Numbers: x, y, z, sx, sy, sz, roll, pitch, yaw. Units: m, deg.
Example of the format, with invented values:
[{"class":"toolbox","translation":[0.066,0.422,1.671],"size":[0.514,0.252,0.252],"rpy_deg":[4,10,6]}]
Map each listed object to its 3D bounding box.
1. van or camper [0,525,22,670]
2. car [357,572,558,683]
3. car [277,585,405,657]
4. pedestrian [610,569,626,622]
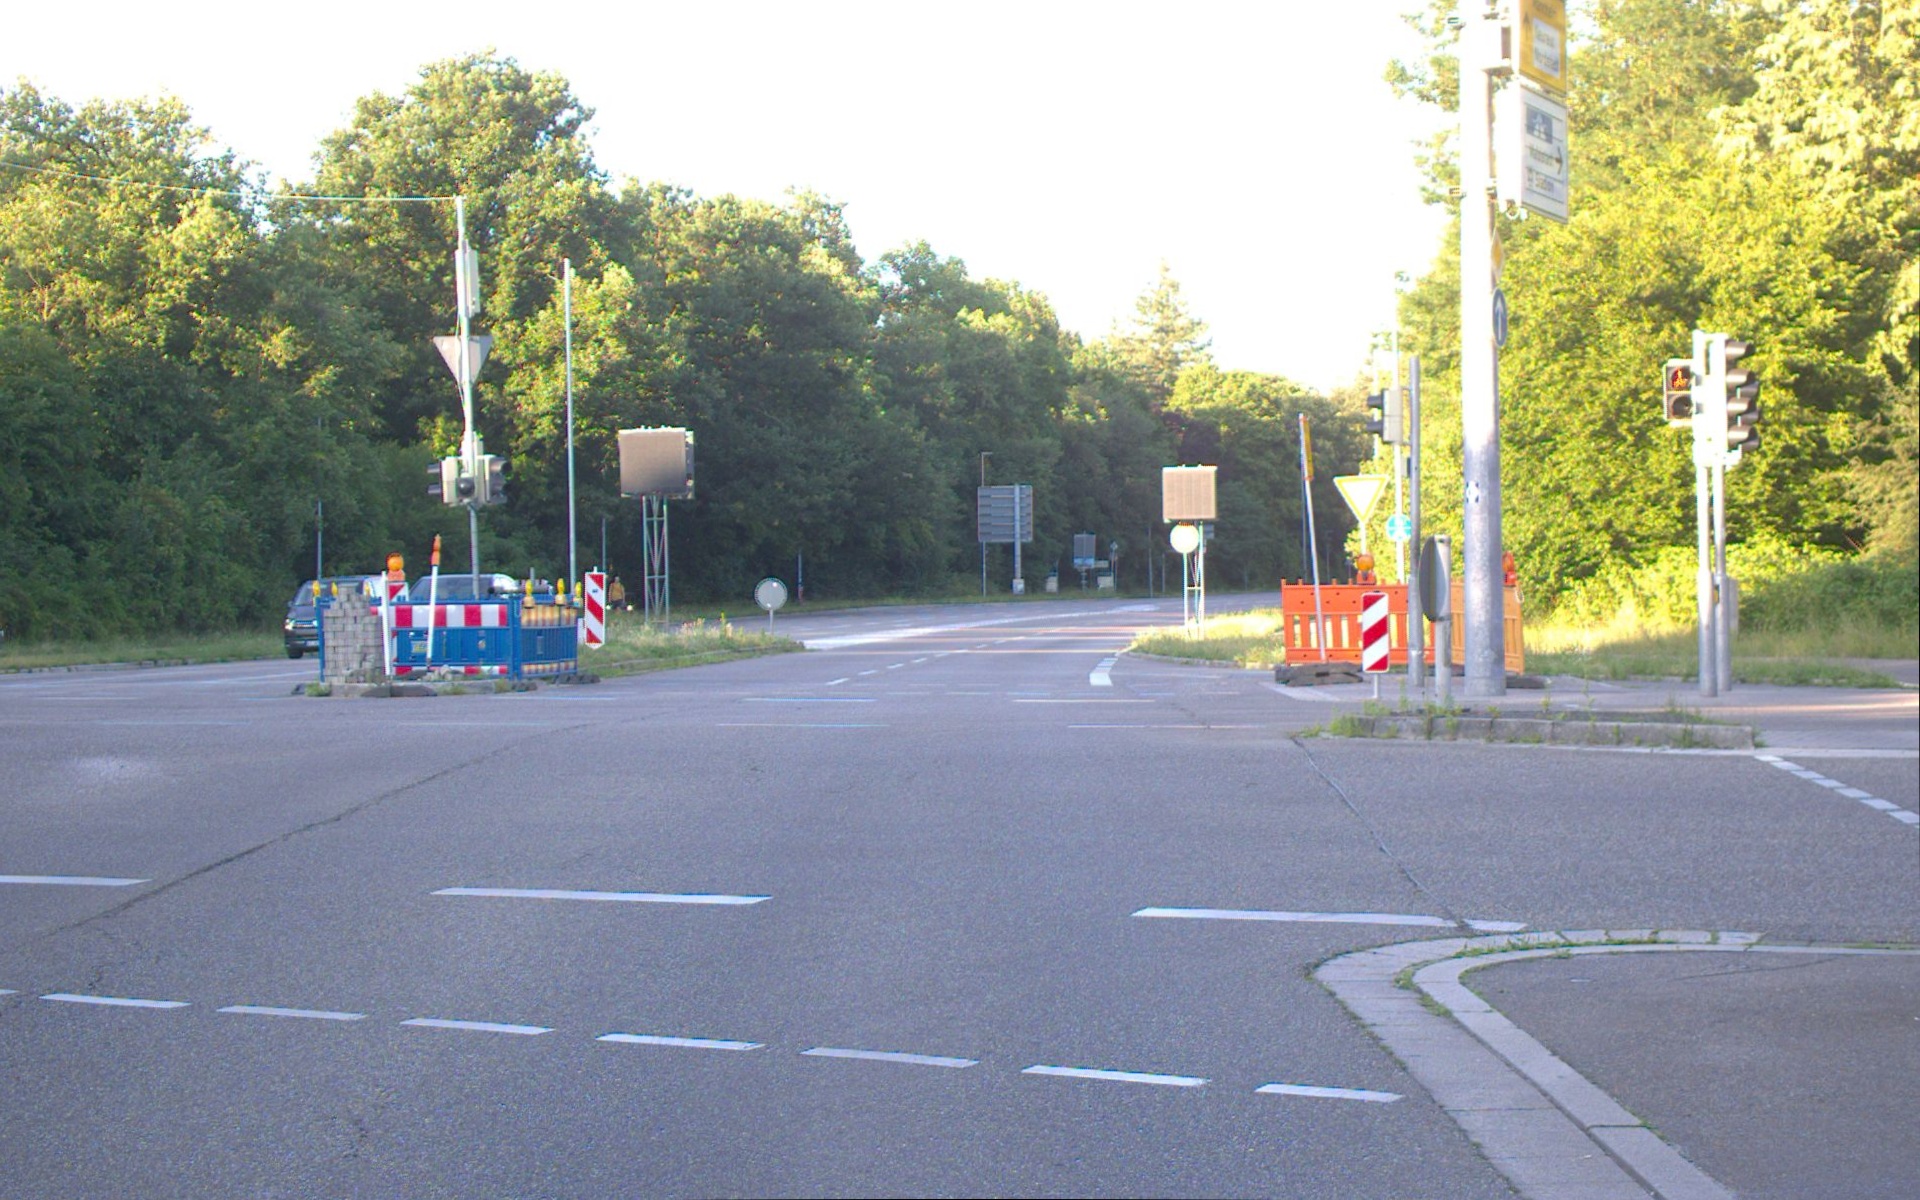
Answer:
[{"class":"van or camper","translation":[-20.200,0.014,60.813],"size":[2.889,2.643,7.111],"rpy_deg":[0,1,28]},{"class":"car","translation":[-8.274,0.428,56.953],"size":[1.994,1.634,3.998],"rpy_deg":[-2,2,12]},{"class":"car","translation":[-14.867,0.491,82.786],"size":[1.994,1.634,3.999],"rpy_deg":[0,1,6]},{"class":"pedestrian","translation":[-13.085,-0.179,131.391],"size":[0.521,2.007,0.600],"rpy_deg":[1,0,-1]}]
